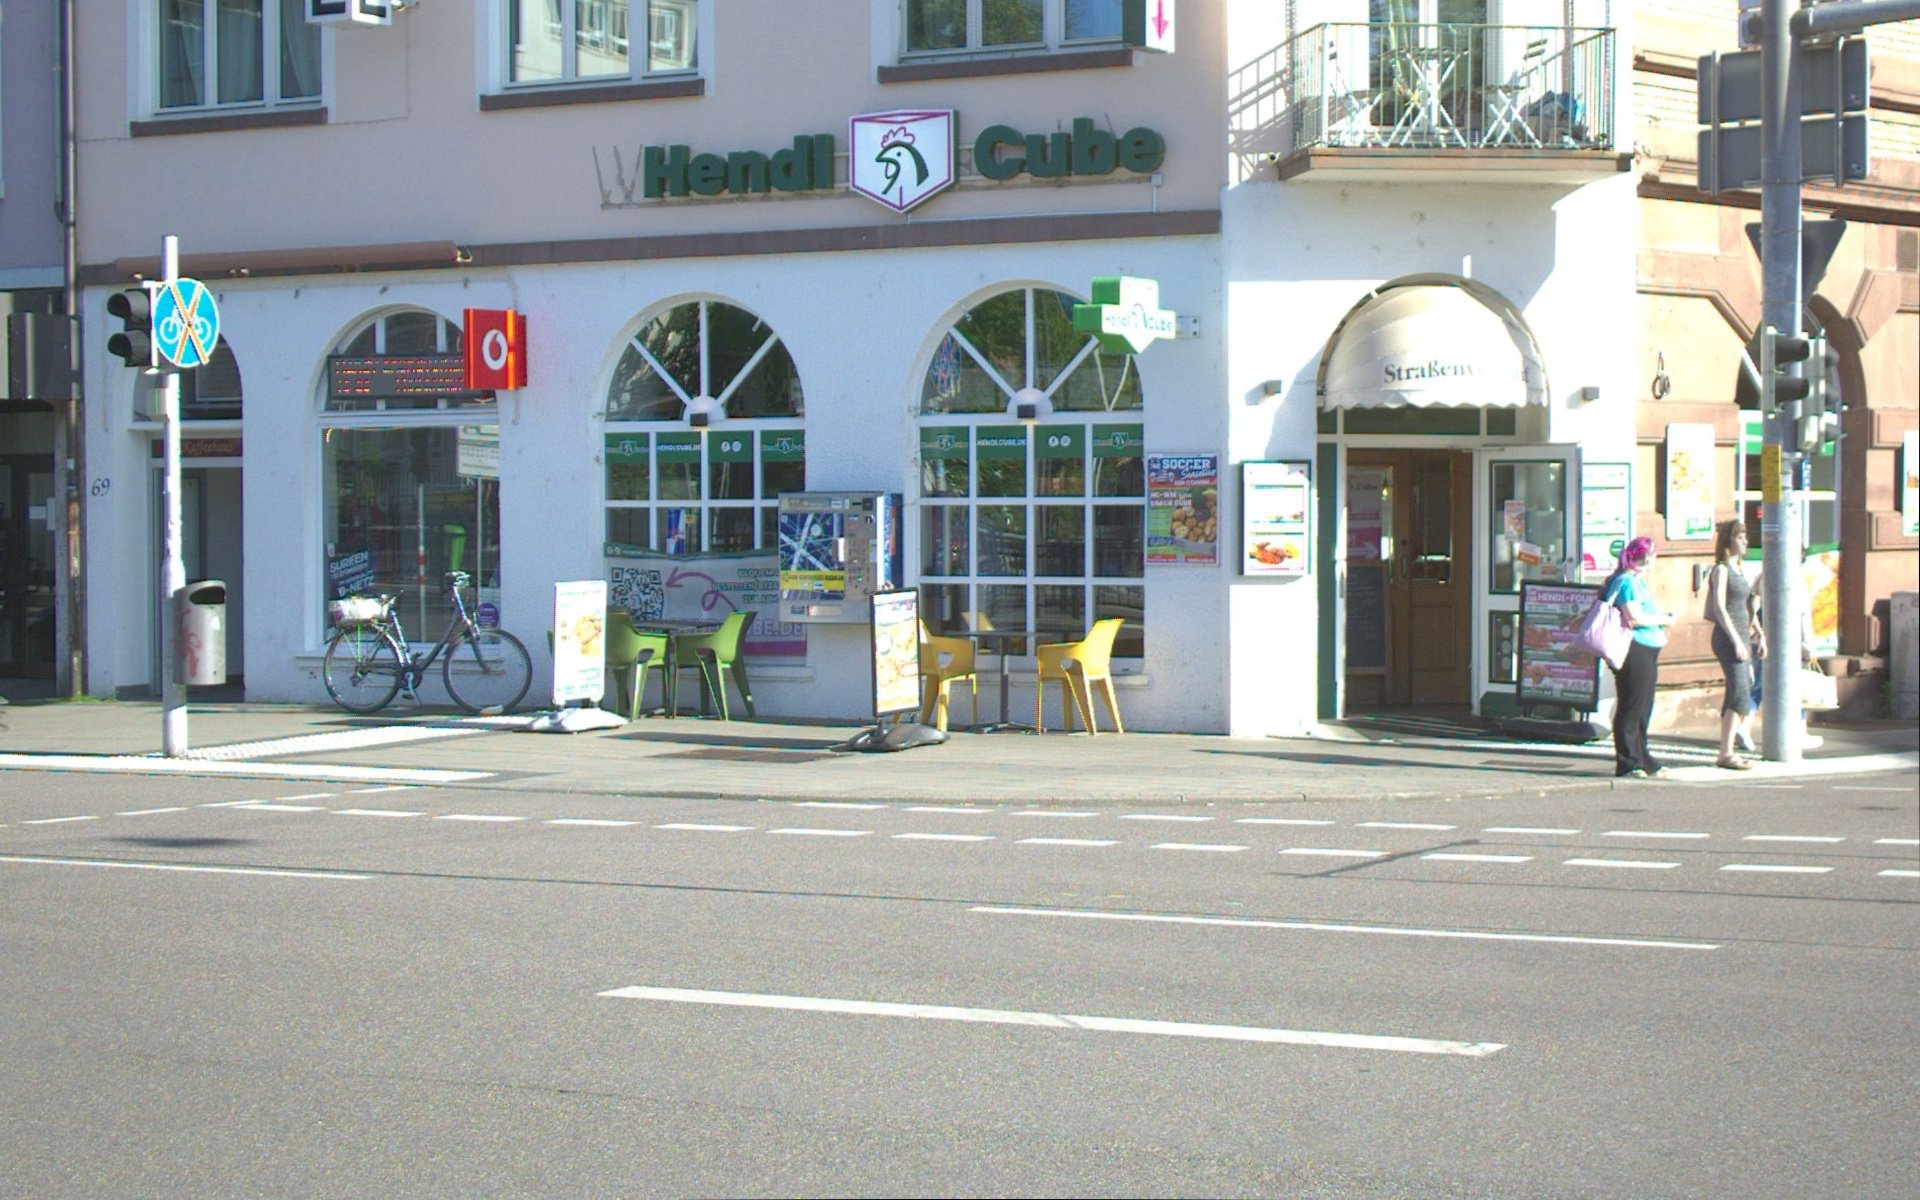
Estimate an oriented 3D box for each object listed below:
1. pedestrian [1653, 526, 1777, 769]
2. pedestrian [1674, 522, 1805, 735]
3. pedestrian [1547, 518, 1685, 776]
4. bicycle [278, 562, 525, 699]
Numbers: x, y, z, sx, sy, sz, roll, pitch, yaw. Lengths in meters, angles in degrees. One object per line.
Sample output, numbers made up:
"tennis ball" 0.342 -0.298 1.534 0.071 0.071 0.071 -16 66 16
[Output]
"pedestrian" 5.205 0.313 23.704 0.632 1.636 0.551 2 3 42
"pedestrian" 5.717 0.196 25.224 0.694 1.518 0.658 2 3 42
"pedestrian" 4.281 0.294 22.430 0.677 1.636 0.577 2 3 42
"bicycle" -4.575 0.241 28.161 1.945 1.063 0.583 1 2 19
